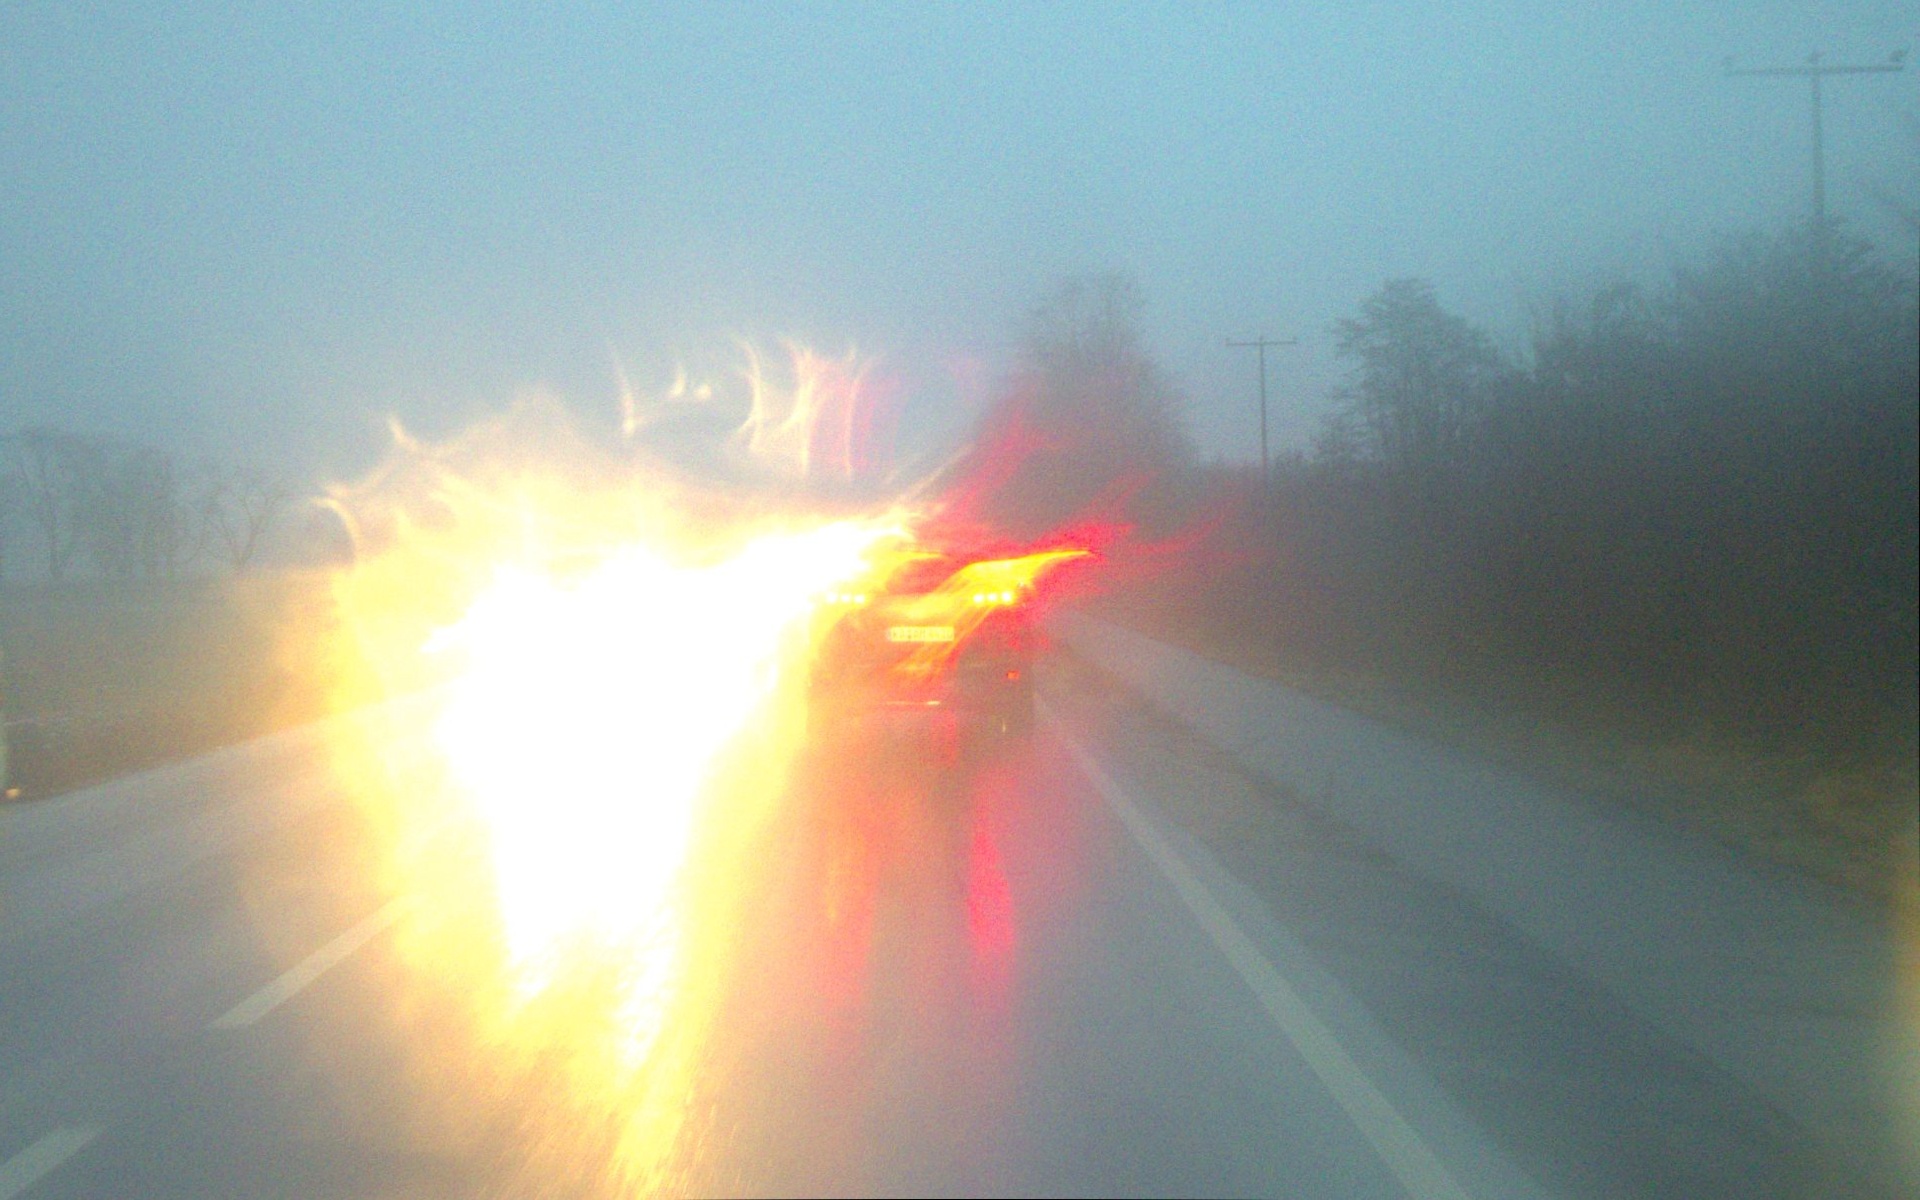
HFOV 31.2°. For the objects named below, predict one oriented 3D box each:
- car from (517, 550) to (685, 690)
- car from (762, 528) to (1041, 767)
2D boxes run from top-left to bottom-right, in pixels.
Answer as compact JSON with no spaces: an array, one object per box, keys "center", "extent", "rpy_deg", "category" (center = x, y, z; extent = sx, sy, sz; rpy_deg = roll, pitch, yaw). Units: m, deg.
[{"center":[-4.606,0.221,44.608],"extent":[1.795,1.680,4.187],"rpy_deg":[-2,1,-1],"category":"car"},{"center":[-0.464,0.399,28.637],"extent":[2.120,1.814,4.980],"rpy_deg":[0,-1,0],"category":"car"}]
